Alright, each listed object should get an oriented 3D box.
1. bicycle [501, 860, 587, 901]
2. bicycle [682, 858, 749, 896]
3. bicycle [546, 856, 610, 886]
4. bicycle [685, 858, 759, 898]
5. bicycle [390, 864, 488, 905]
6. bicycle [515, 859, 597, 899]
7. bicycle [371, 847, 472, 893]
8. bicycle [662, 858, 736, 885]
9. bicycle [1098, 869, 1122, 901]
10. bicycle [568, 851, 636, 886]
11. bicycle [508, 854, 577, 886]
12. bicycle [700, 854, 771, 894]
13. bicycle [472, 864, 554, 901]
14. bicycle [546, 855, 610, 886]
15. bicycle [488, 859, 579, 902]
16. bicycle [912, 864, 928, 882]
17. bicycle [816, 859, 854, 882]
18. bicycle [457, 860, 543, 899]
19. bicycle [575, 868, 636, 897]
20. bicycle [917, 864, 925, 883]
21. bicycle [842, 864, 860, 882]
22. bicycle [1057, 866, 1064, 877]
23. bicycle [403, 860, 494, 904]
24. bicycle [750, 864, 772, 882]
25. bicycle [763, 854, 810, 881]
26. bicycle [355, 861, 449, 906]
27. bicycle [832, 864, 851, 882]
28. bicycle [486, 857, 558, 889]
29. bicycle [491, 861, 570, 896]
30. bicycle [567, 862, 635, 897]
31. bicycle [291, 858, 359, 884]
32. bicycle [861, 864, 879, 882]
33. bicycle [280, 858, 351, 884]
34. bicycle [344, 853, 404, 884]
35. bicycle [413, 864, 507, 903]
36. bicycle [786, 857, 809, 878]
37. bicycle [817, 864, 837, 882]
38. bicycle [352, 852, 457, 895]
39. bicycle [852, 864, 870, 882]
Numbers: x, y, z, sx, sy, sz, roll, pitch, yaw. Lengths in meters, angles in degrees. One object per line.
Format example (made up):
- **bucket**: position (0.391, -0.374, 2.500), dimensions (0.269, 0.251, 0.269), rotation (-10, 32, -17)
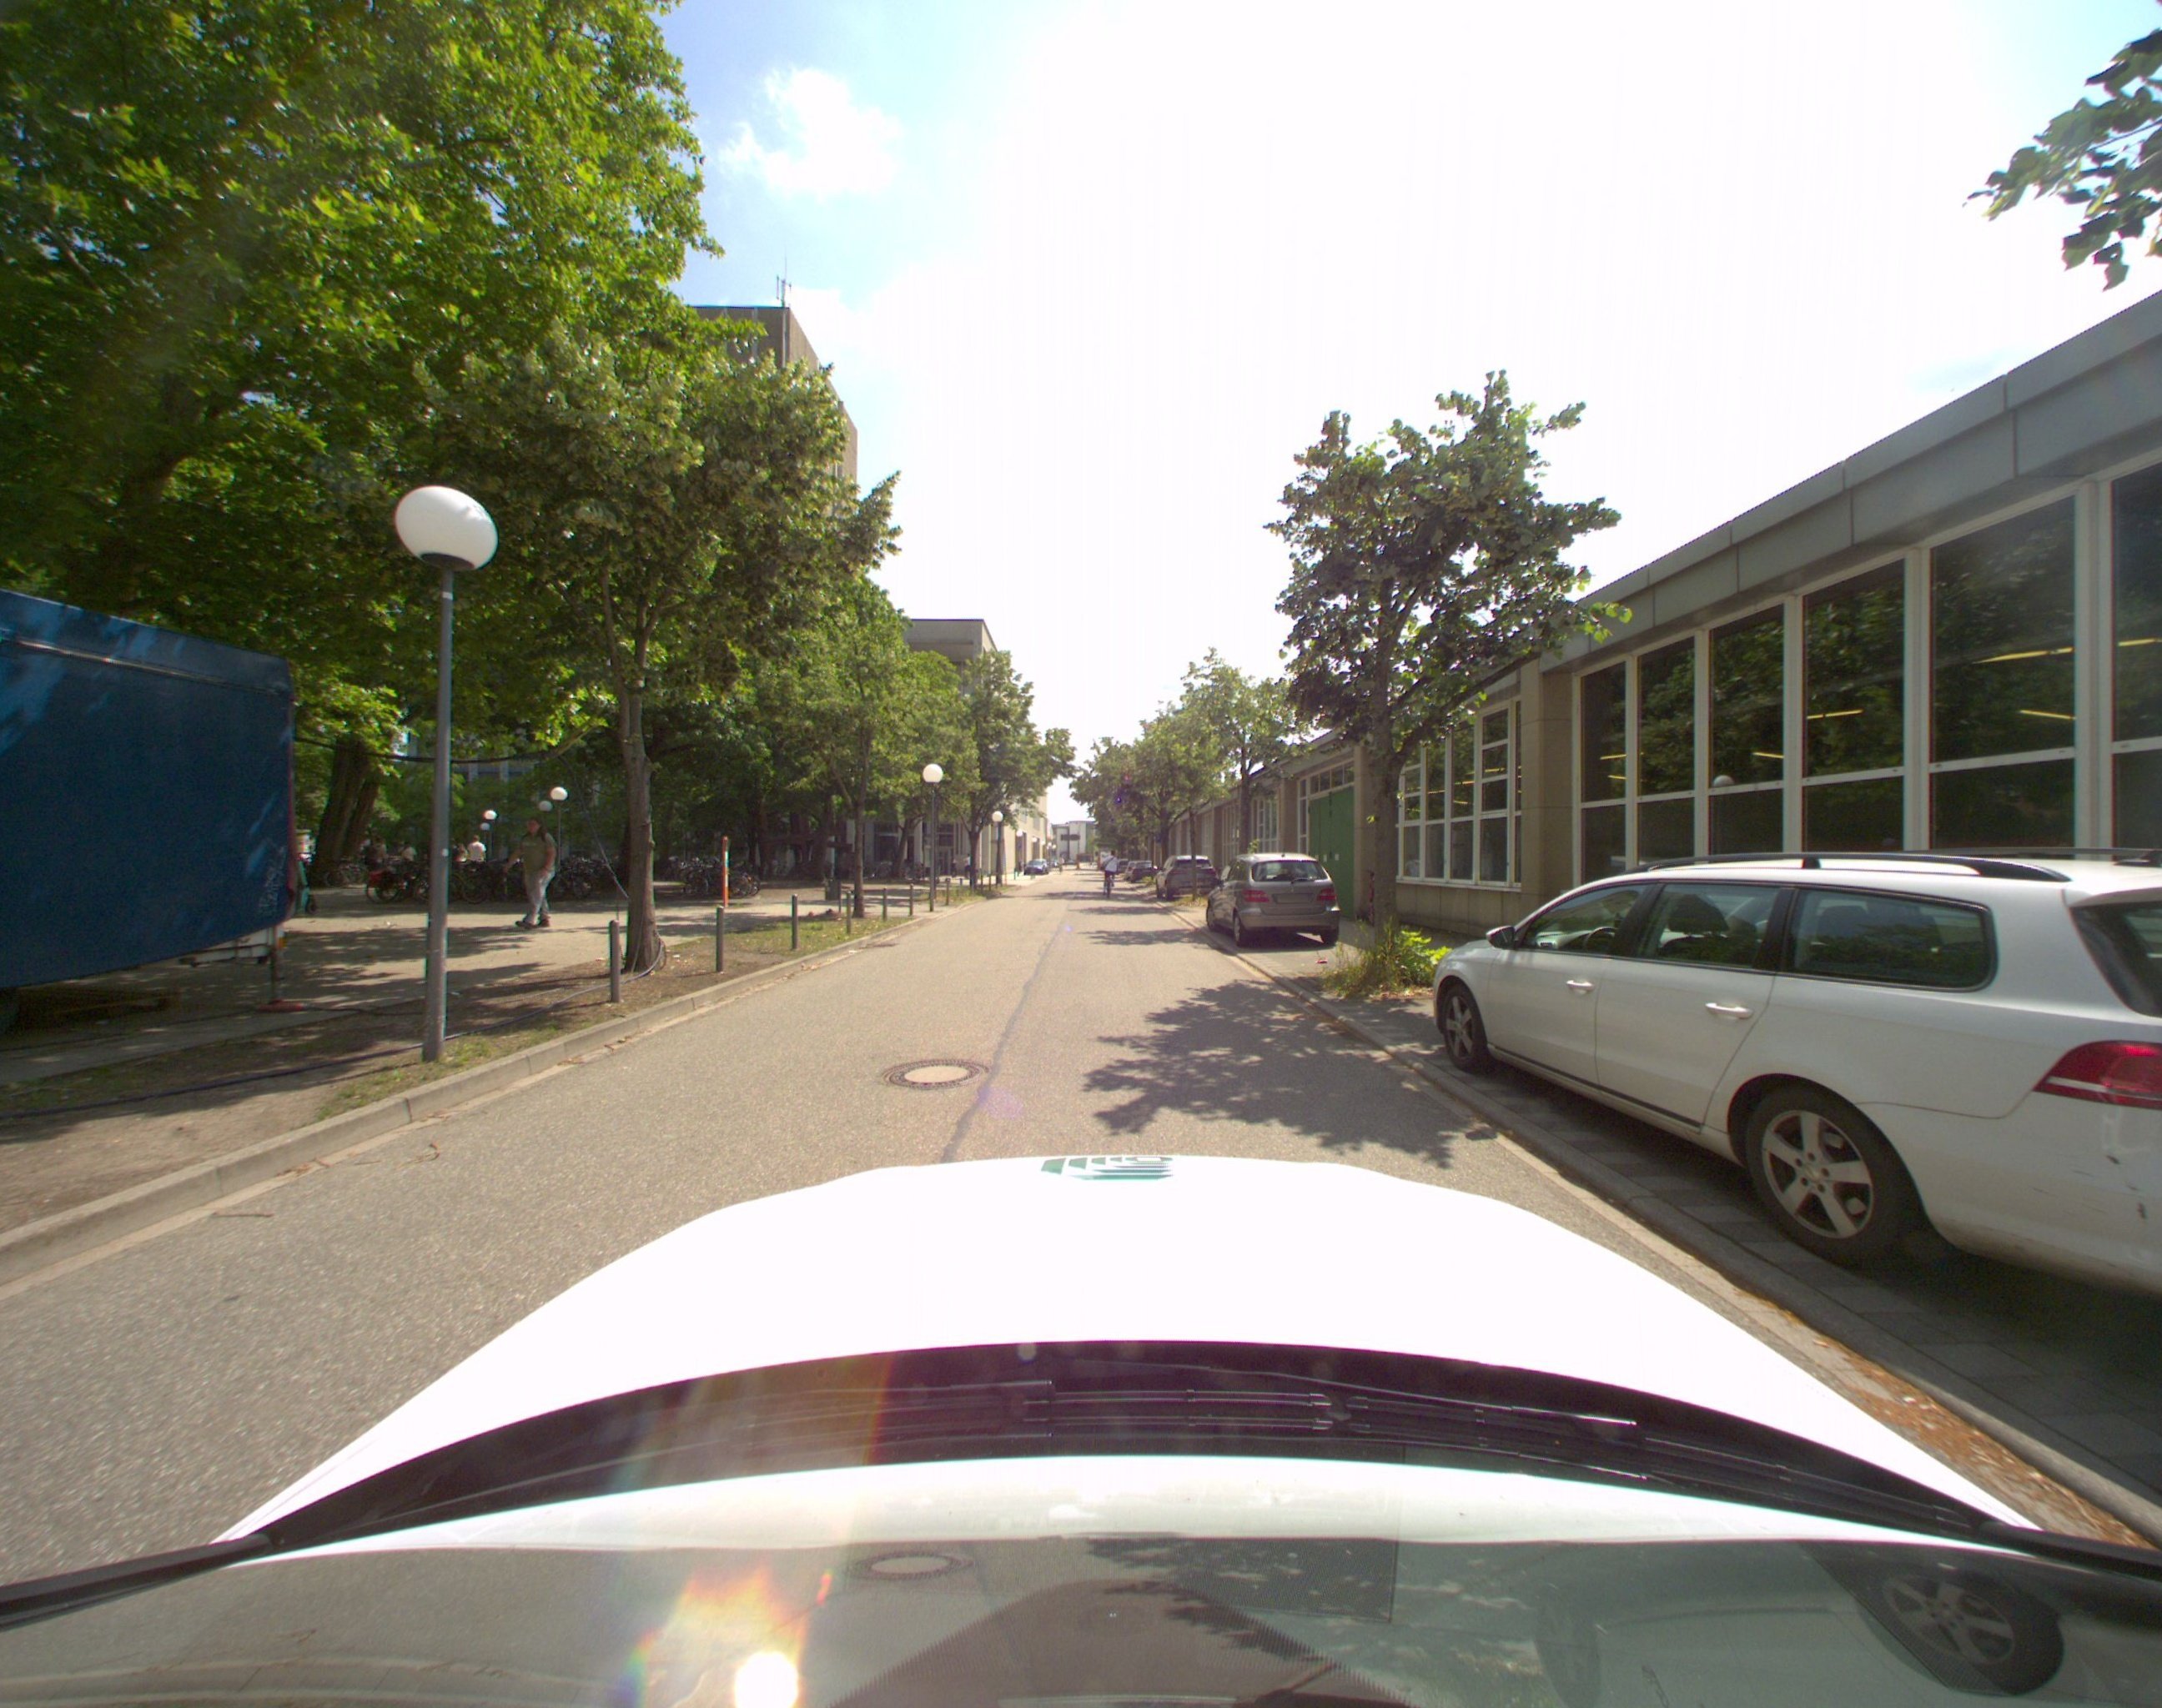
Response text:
- **bicycle**: position (-14.687, 0.723, 22.325), dimensions (1.861, 1.089, 0.543), rotation (2, -1, -21)
- **bicycle**: position (-11.137, 0.710, 24.867), dimensions (1.777, 1.132, 0.456), rotation (2, -1, -17)
- **bicycle**: position (-18.894, 0.654, 30.634), dimensions (1.972, 1.089, 0.542), rotation (2, -1, -29)
- **bicycle**: position (-11.600, 0.781, 26.372), dimensions (2.059, 1.234, 0.804), rotation (2, -1, -17)
- **bicycle**: position (-16.946, 0.804, 21.527), dimensions (1.961, 1.027, 0.535), rotation (2, -1, -10)
- **bicycle**: position (-15.041, 0.724, 23.360), dimensions (1.861, 1.089, 0.543), rotation (2, -1, -21)
- **bicycle**: position (-16.909, 0.417, 20.925), dimensions (1.961, 1.126, 0.535), rotation (2, -1, -10)
- **bicycle**: position (-17.438, 0.823, 37.244), dimensions (2.899, 1.178, 0.872), rotation (2, -1, -42)
- **bicycle**: position (1.112, 1.190, 32.265), dimensions (0.879, 1.200, 2.749), rotation (1, -1, 1)
- **bicycle**: position (-17.312, 0.527, 29.445), dimensions (2.069, 1.234, 0.633), rotation (2, 0, -35)
- **bicycle**: position (-19.252, 0.574, 29.160), dimensions (1.972, 1.089, 0.542), rotation (2, -1, -29)
- **bicycle**: position (-11.597, 0.684, 27.424), dimensions (2.058, 1.234, 0.804), rotation (3, -1, -17)
- **bicycle**: position (-17.548, 0.874, 25.194), dimensions (1.965, 1.089, 0.544), rotation (2, -1, -17)
- **bicycle**: position (-19.605, 0.639, 31.743), dimensions (2.069, 1.158, 0.633), rotation (2, 0, -35)
- **bicycle**: position (-14.284, 0.690, 21.295), dimensions (1.861, 1.089, 0.543), rotation (2, -1, -21)
- **bicycle**: position (-10.229, 1.208, 51.693), dimensions (0.550, 1.086, 1.973), rotation (2, -1, 1)
- **bicycle**: position (-13.969, 0.925, 46.293), dimensions (2.028, 1.254, 0.581), rotation (0, 0, -32)
- **bicycle**: position (-17.213, 0.760, 24.166), dimensions (1.966, 1.089, 0.534), rotation (2, -1, -17)
- **bicycle**: position (-19.319, 1.170, 33.134), dimensions (2.069, 1.132, 0.633), rotation (2, 0, -35)
- **bicycle**: position (-8.915, 1.103, 45.417), dimensions (0.382, 1.026, 1.808), rotation (1, -1, -11)
- **bicycle**: position (-14.602, 1.194, 51.752), dimensions (0.550, 1.086, 1.973), rotation (2, -1, 1)
- **bicycle**: position (-2.188, 1.861, 87.788), dimensions (0.683, 1.130, 1.887), rotation (0, -1, -1)
- **bicycle**: position (-15.530, 0.689, 20.014), dimensions (1.795, 1.014, 0.538), rotation (1, -1, 2)
- **bicycle**: position (-20.324, 1.174, 51.766), dimensions (0.550, 1.086, 1.973), rotation (2, -1, 1)
- **bicycle**: position (-16.221, 0.767, 44.880), dimensions (2.299, 1.450, 0.601), rotation (1, -1, -33)
- **bicycle**: position (-16.204, 0.686, 19.451), dimensions (1.795, 1.014, 0.538), rotation (1, -1, 3)
- **bicycle**: position (-15.251, 1.198, 51.879), dimensions (0.550, 1.086, 1.973), rotation (2, -1, 1)
- **bicycle**: position (-19.200, 0.658, 28.025), dimensions (1.972, 1.089, 0.542), rotation (2, -1, -29)
- **bicycle**: position (-17.582, 0.779, 26.055), dimensions (1.965, 1.089, 0.544), rotation (2, -1, -17)
- **bicycle**: position (-17.693, 0.937, 30.018), dimensions (2.069, 1.234, 0.633), rotation (3, -1, -35)
- **bicycle**: position (-27.410, 0.625, 29.553), dimensions (1.767, 0.894, 0.416), rotation (2, -1, -20)
- **bicycle**: position (-13.431, 1.203, 51.845), dimensions (0.550, 1.086, 1.973), rotation (2, -1, 1)
- **bicycle**: position (-26.935, 0.602, 28.671), dimensions (1.767, 0.894, 0.416), rotation (2, -1, -20)
- **bicycle**: position (-28.811, 0.580, 33.216), dimensions (1.795, 1.207, 0.422), rotation (2, -1, -17)
- **bicycle**: position (-16.908, 0.804, 22.195), dimensions (1.961, 1.027, 0.535), rotation (2, -1, -10)
- **bicycle**: position (-17.843, 0.852, 51.311), dimensions (0.523, 1.253, 2.382), rotation (0, -1, 2)
- **bicycle**: position (-16.095, 1.185, 51.656), dimensions (0.550, 1.086, 1.973), rotation (2, -1, 1)
- **bicycle**: position (-16.806, 0.491, 20.268), dimensions (1.961, 1.003, 0.535), rotation (2, -1, -10)
- **bicycle**: position (-13.995, 1.198, 51.780), dimensions (0.550, 1.086, 1.973), rotation (2, -1, 1)
